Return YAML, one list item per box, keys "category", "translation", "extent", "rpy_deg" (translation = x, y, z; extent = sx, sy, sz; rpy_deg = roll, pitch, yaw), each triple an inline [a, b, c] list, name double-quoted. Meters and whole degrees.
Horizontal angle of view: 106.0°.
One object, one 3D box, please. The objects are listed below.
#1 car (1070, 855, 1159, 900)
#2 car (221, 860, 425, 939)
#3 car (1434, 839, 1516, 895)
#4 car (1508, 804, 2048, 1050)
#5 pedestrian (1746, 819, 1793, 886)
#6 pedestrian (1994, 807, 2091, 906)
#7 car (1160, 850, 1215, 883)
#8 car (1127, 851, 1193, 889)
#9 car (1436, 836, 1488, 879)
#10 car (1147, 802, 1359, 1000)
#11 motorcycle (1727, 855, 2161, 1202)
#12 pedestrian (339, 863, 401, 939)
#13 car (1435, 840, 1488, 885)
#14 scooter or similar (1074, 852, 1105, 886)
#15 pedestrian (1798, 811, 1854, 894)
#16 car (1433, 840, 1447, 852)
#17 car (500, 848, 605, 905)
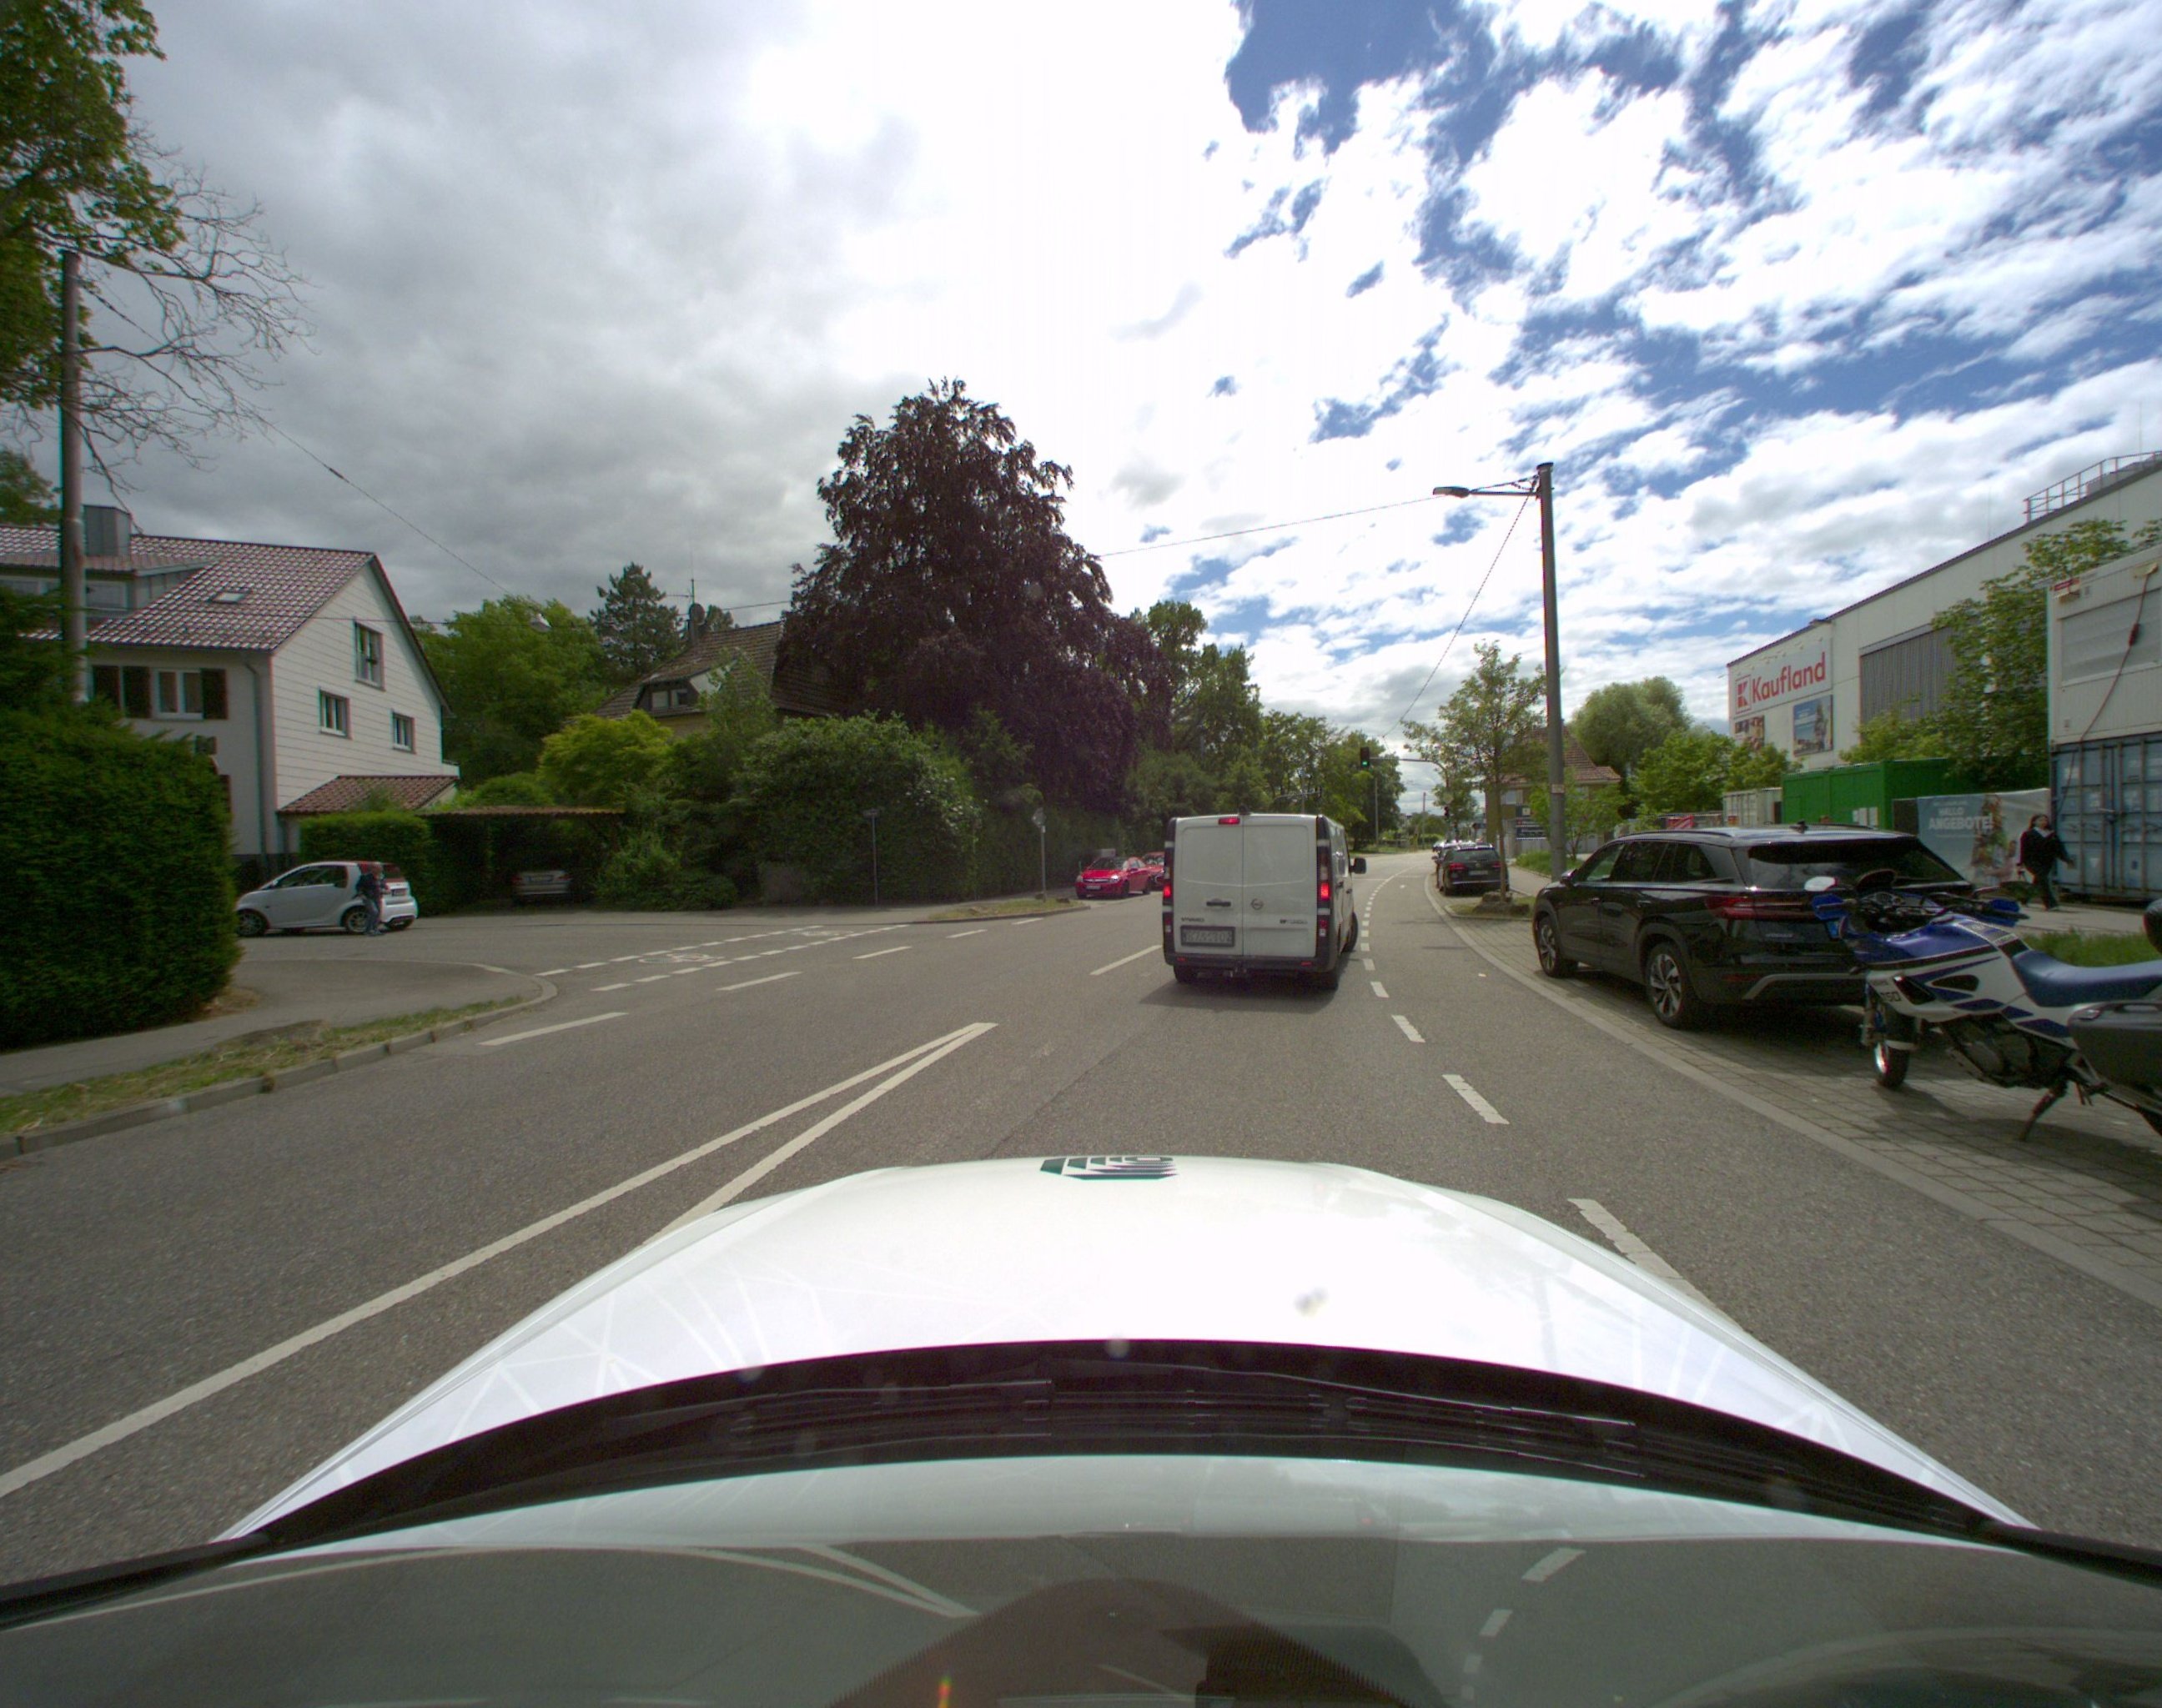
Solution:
- category: "car"
  translation: [1.277, 0.767, 28.766]
  extent: [1.646, 1.378, 4.591]
  rpy_deg: [0, 1, 22]
- category: "car"
  translation: [-16.163, 0.927, 17.514]
  extent: [2.775, 1.555, 1.581]
  rpy_deg: [0, 0, -16]
- category: "car"
  translation: [12.160, 0.357, 25.394]
  extent: [1.750, 1.477, 4.961]
  rpy_deg: [-4, -1, 20]
- category: "car"
  translation: [5.938, 0.510, 7.934]
  extent: [1.866, 1.621, 4.863]
  rpy_deg: [-3, 0, 12]
- category: "pedestrian"
  translation: [18.058, -0.037, 21.370]
  extent: [0.646, 1.697, 0.849]
  rpy_deg: [-1, 0, 20]
- category: "pedestrian"
  translation: [16.140, 0.045, 13.695]
  extent: [0.736, 1.618, 0.771]
  rpy_deg: [-1, 0, 19]
- category: "car"
  translation: [5.056, 0.554, 38.273]
  extent: [1.581, 1.450, 3.616]
  rpy_deg: [0, 0, 23]
- category: "car"
  translation: [3.327, 0.598, 33.691]
  extent: [1.635, 1.450, 4.127]
  rpy_deg: [0, 0, 22]
- category: "car"
  translation: [16.408, 0.127, 35.225]
  extent: [1.721, 1.616, 4.410]
  rpy_deg: [-4, -1, 22]
- category: "car"
  translation: [2.504, 0.424, 10.658]
  extent: [1.922, 1.960, 4.859]
  rpy_deg: [1, 1, 21]
- category: "motorcycle"
  translation: [4.742, 0.703, 4.314]
  extent: [1.064, 1.305, 2.267]
  rpy_deg: [-4, 0, 10]
- category: "pedestrian"
  translation: [-14.641, 0.952, 16.777]
  extent: [0.729, 1.508, 0.625]
  rpy_deg: [-1, 0, -13]
- category: "car"
  translation: [13.983, 0.273, 30.108]
  extent: [1.554, 1.493, 4.022]
  rpy_deg: [-3, 0, 23]
- category: "scooter or similar"
  translation: [0.375, 0.620, 34.481]
  extent: [0.664, 1.412, 1.658]
  rpy_deg: [-1, 1, 24]
- category: "pedestrian"
  translation: [15.686, -0.033, 17.166]
  extent: [0.644, 1.696, 0.729]
  rpy_deg: [-1, 0, 25]
- category: "car"
  translation: [54.328, -1.230, 123.268]
  extent: [1.817, 1.616, 4.176]
  rpy_deg: [-2, 0, 23]
- category: "car"
  translation: [-15.464, 0.585, 24.046]
  extent: [1.729, 1.509, 3.972]
  rpy_deg: [-1, 1, -21]
